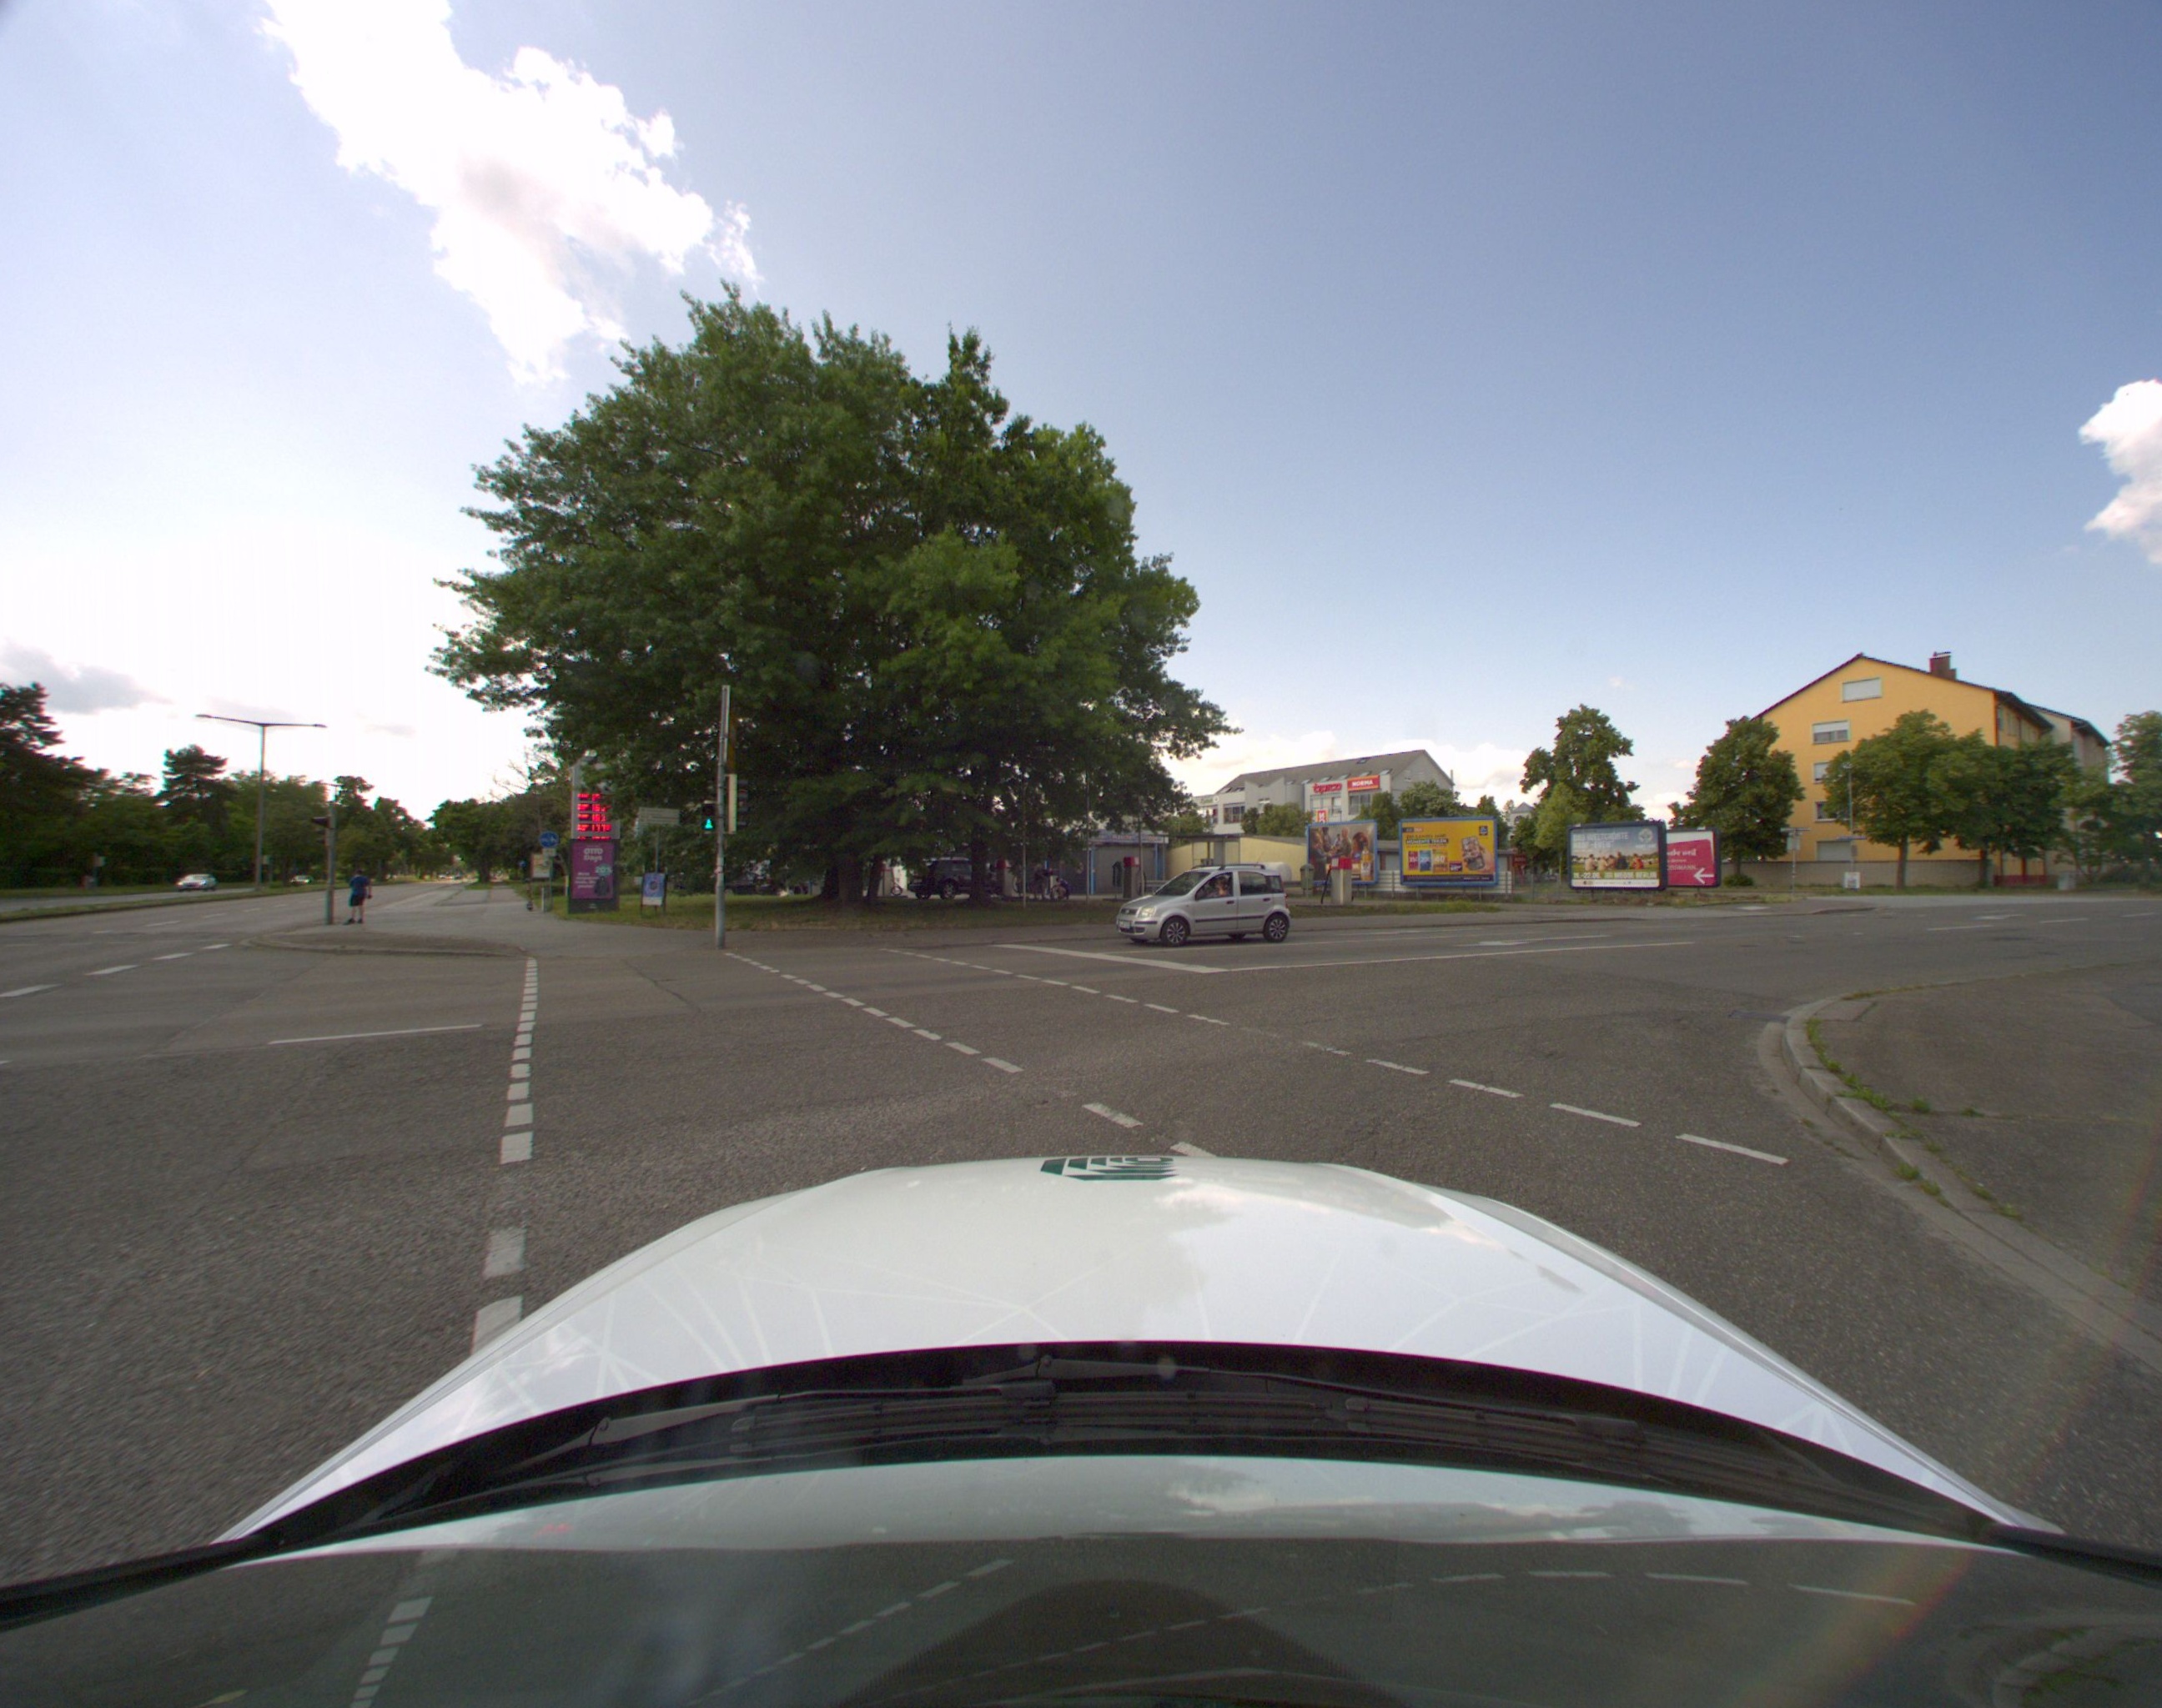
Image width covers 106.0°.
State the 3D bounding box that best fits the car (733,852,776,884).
[{"bbox_3d":[-26.515,1.138,66.099,1.764,2.454,5.684,1,-2,-38],"label":"car"}]

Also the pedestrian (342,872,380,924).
[{"bbox_3d":[-21.642,1.318,24.479,0.750,1.532,0.732,-2,-2,38],"label":"pedestrian"}]

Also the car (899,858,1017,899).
[{"bbox_3d":[-5.100,0.991,34.280,2.127,1.596,4.591,-2,-2,43],"label":"car"}]

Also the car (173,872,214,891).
[{"bbox_3d":[-85.282,2.643,78.325,1.875,1.705,4.405,0,-2,-37],"label":"car"}]

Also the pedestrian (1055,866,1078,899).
[{"bbox_3d":[-0.558,1.103,31.745,0.759,1.256,0.647,0,-3,10],"label":"pedestrian"}]

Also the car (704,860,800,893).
[{"bbox_3d":[-20.692,1.400,51.281,5.223,2.004,2.129,0,-2,-40],"label":"car"}]

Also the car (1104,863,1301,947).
[{"bbox_3d":[2.407,0.948,16.175,3.613,1.517,1.547,0,-2,-24],"label":"car"}]

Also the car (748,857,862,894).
[{"bbox_3d":[-14.333,1.105,42.499,2.127,1.827,5.228,-2,-2,43],"label":"car"}]

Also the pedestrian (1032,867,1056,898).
[{"bbox_3d":[-1.442,1.120,31.852,0.759,1.190,0.647,0,-3,10],"label":"pedestrian"}]

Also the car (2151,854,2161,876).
[{"bbox_3d":[123.387,1.286,91.934,2.045,2.500,5.876,4,2,42],"label":"car"}]

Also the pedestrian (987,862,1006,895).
[{"bbox_3d":[-3.801,1.102,36.539,0.565,1.495,0.612,4,-5,-43],"label":"pedestrian"}]

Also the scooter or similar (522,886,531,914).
[{"bbox_3d":[-20.574,1.695,30.221,0.222,0.979,1.258,1,-2,-36],"label":"scooter or similar"}]
